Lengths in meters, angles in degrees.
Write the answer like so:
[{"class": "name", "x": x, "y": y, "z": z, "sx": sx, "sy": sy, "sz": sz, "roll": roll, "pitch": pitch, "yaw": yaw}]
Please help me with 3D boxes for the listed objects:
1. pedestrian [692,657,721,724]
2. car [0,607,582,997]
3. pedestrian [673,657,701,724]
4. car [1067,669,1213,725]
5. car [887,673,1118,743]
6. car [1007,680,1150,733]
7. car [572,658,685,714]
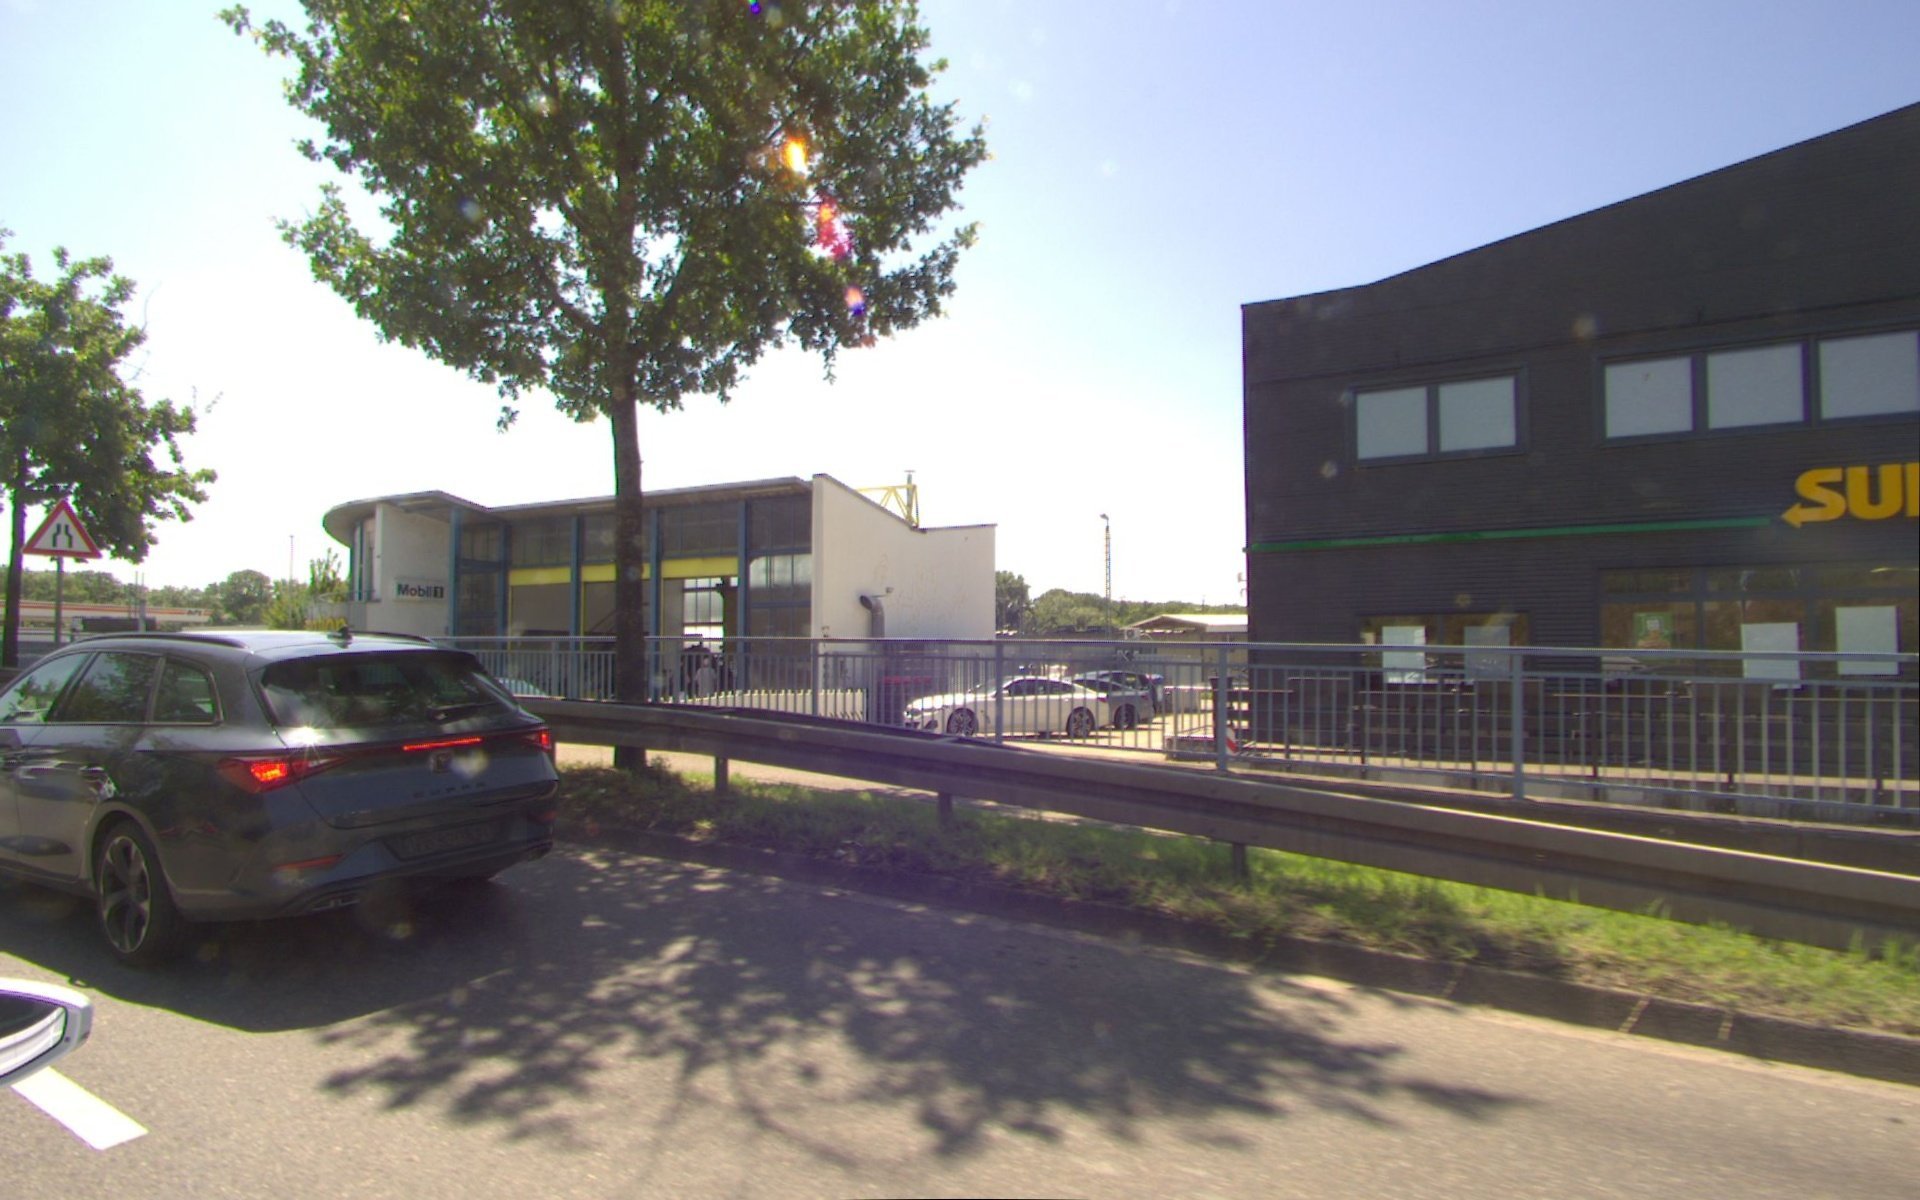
[{"class": "pedestrian", "x": -6.581, "y": 2.343, "z": 26.031, "sx": 0.580, "sy": 1.724, "sz": 0.426, "roll": -1, "pitch": -2, "yaw": 27}, {"class": "car", "x": -4.161, "y": 0.837, "z": 5.554, "sx": 4.172, "sy": 1.474, "sz": 1.603, "roll": -1, "pitch": -2, "yaw": 30}, {"class": "pedestrian", "x": -7.168, "y": 2.368, "z": 26.301, "sx": 0.481, "sy": 1.724, "sz": 0.521, "roll": -1, "pitch": -2, "yaw": 28}, {"class": "car", "x": 5.658, "y": 2.993, "z": 31.444, "sx": 4.329, "sy": 1.578, "sz": 1.651, "roll": 1, "pitch": -2, "yaw": -24}, {"class": "car", "x": 1.000, "y": 2.434, "z": 23.237, "sx": 5.001, "sy": 1.375, "sz": 1.994, "roll": 1, "pitch": -2, "yaw": -24}, {"class": "car", "x": 3.190, "y": 2.845, "z": 27.042, "sx": 3.548, "sy": 1.269, "sz": 1.478, "roll": 1, "pitch": -2, "yaw": -15}, {"class": "car", "x": -11.172, "y": 2.860, "z": 33.990, "sx": 1.623, "sy": 1.705, "sz": 3.672, "roll": -1, "pitch": -2, "yaw": 23}]
